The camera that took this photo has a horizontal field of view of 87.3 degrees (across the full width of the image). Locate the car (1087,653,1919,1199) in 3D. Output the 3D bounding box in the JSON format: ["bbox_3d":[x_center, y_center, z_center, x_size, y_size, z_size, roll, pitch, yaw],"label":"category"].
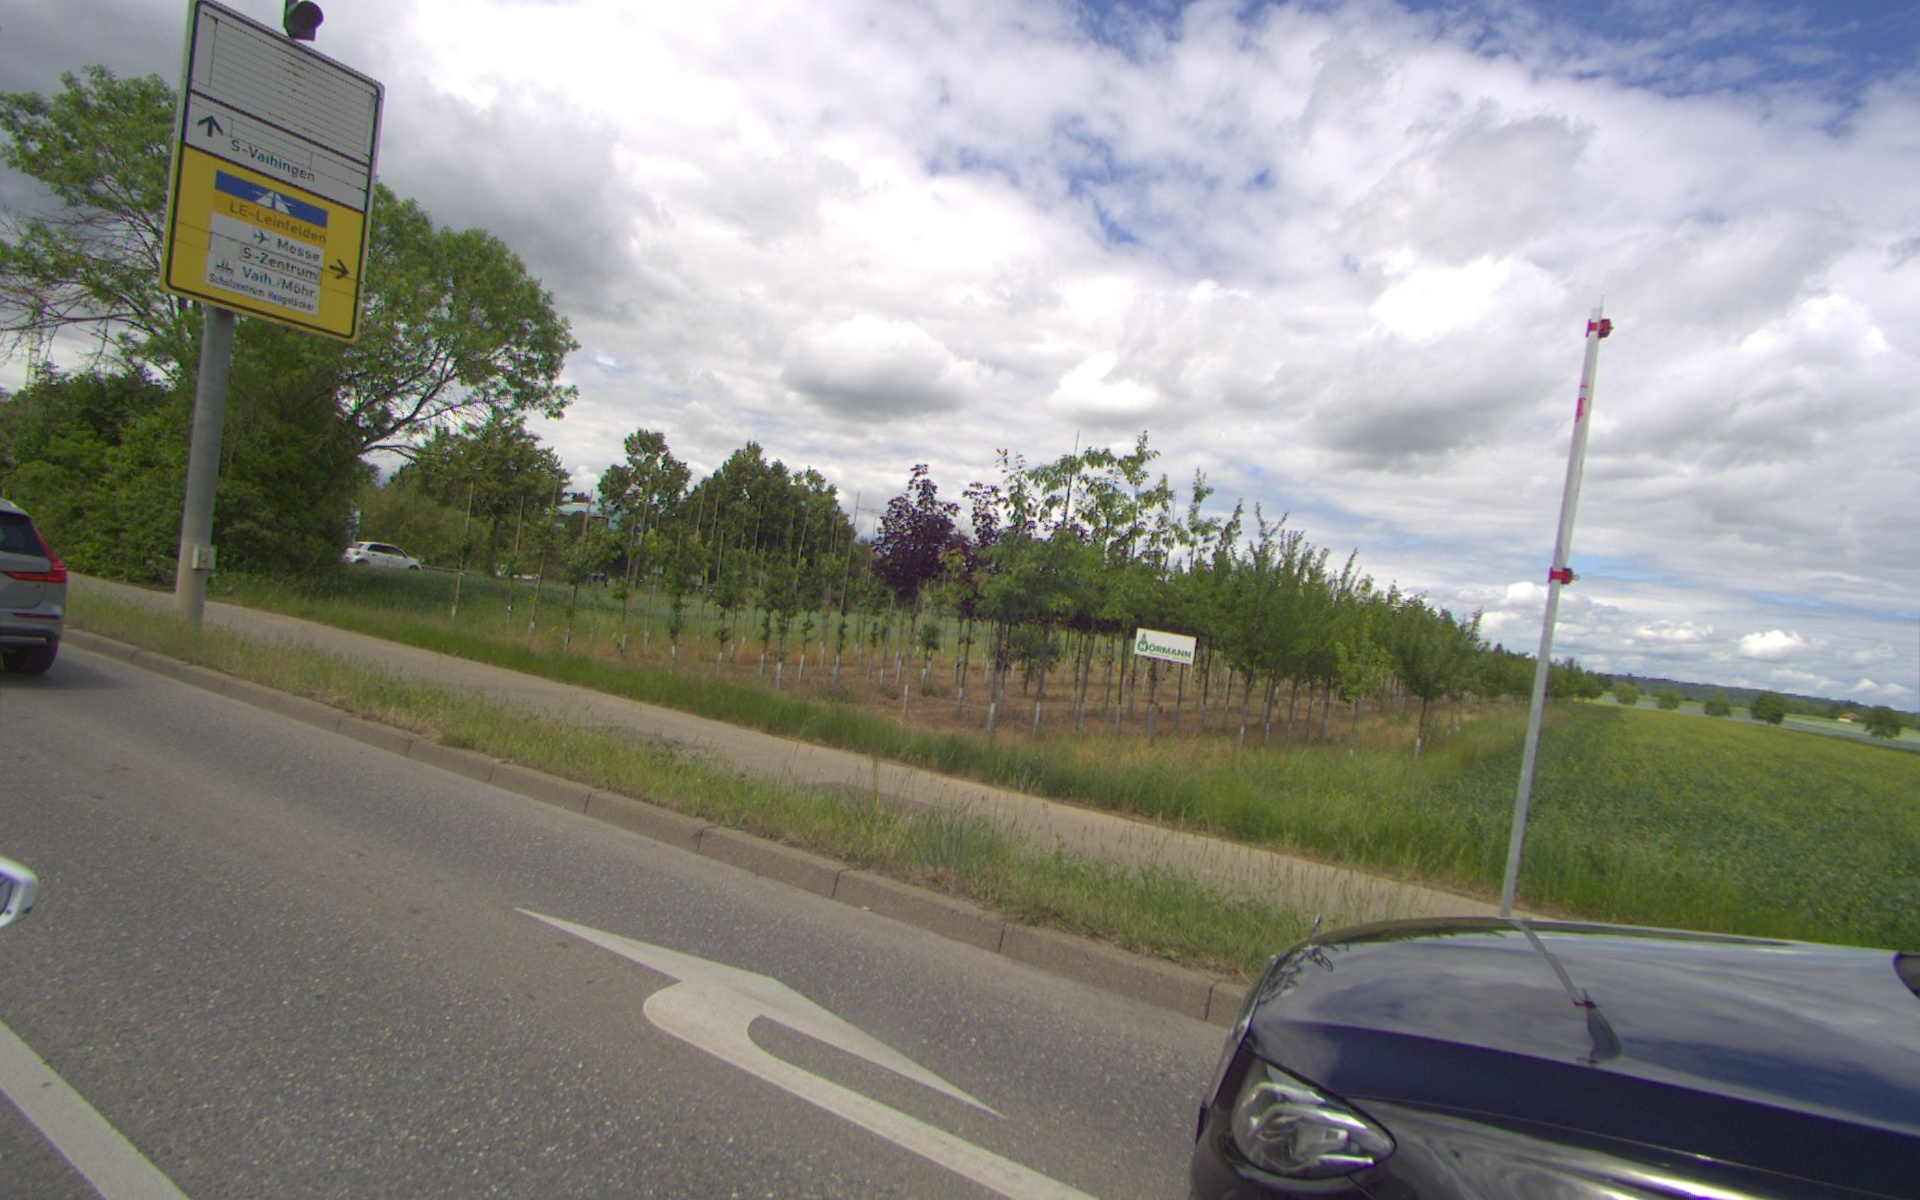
[{"bbox_3d":[2.893,1.149,1.253,5.111,1.458,1.875,7,0,30],"label":"car"}]

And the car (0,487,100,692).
[{"bbox_3d":[-9.264,-0.321,8.410,4.373,1.537,1.865,7,0,32],"label":"car"}]

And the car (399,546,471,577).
[{"bbox_3d":[-31.633,-2.322,60.697,1.662,1.361,3.383,7,-1,33],"label":"car"}]

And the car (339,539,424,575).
[{"bbox_3d":[-29.495,-2.182,51.394,1.657,1.361,3.392,7,-1,18],"label":"car"}]
